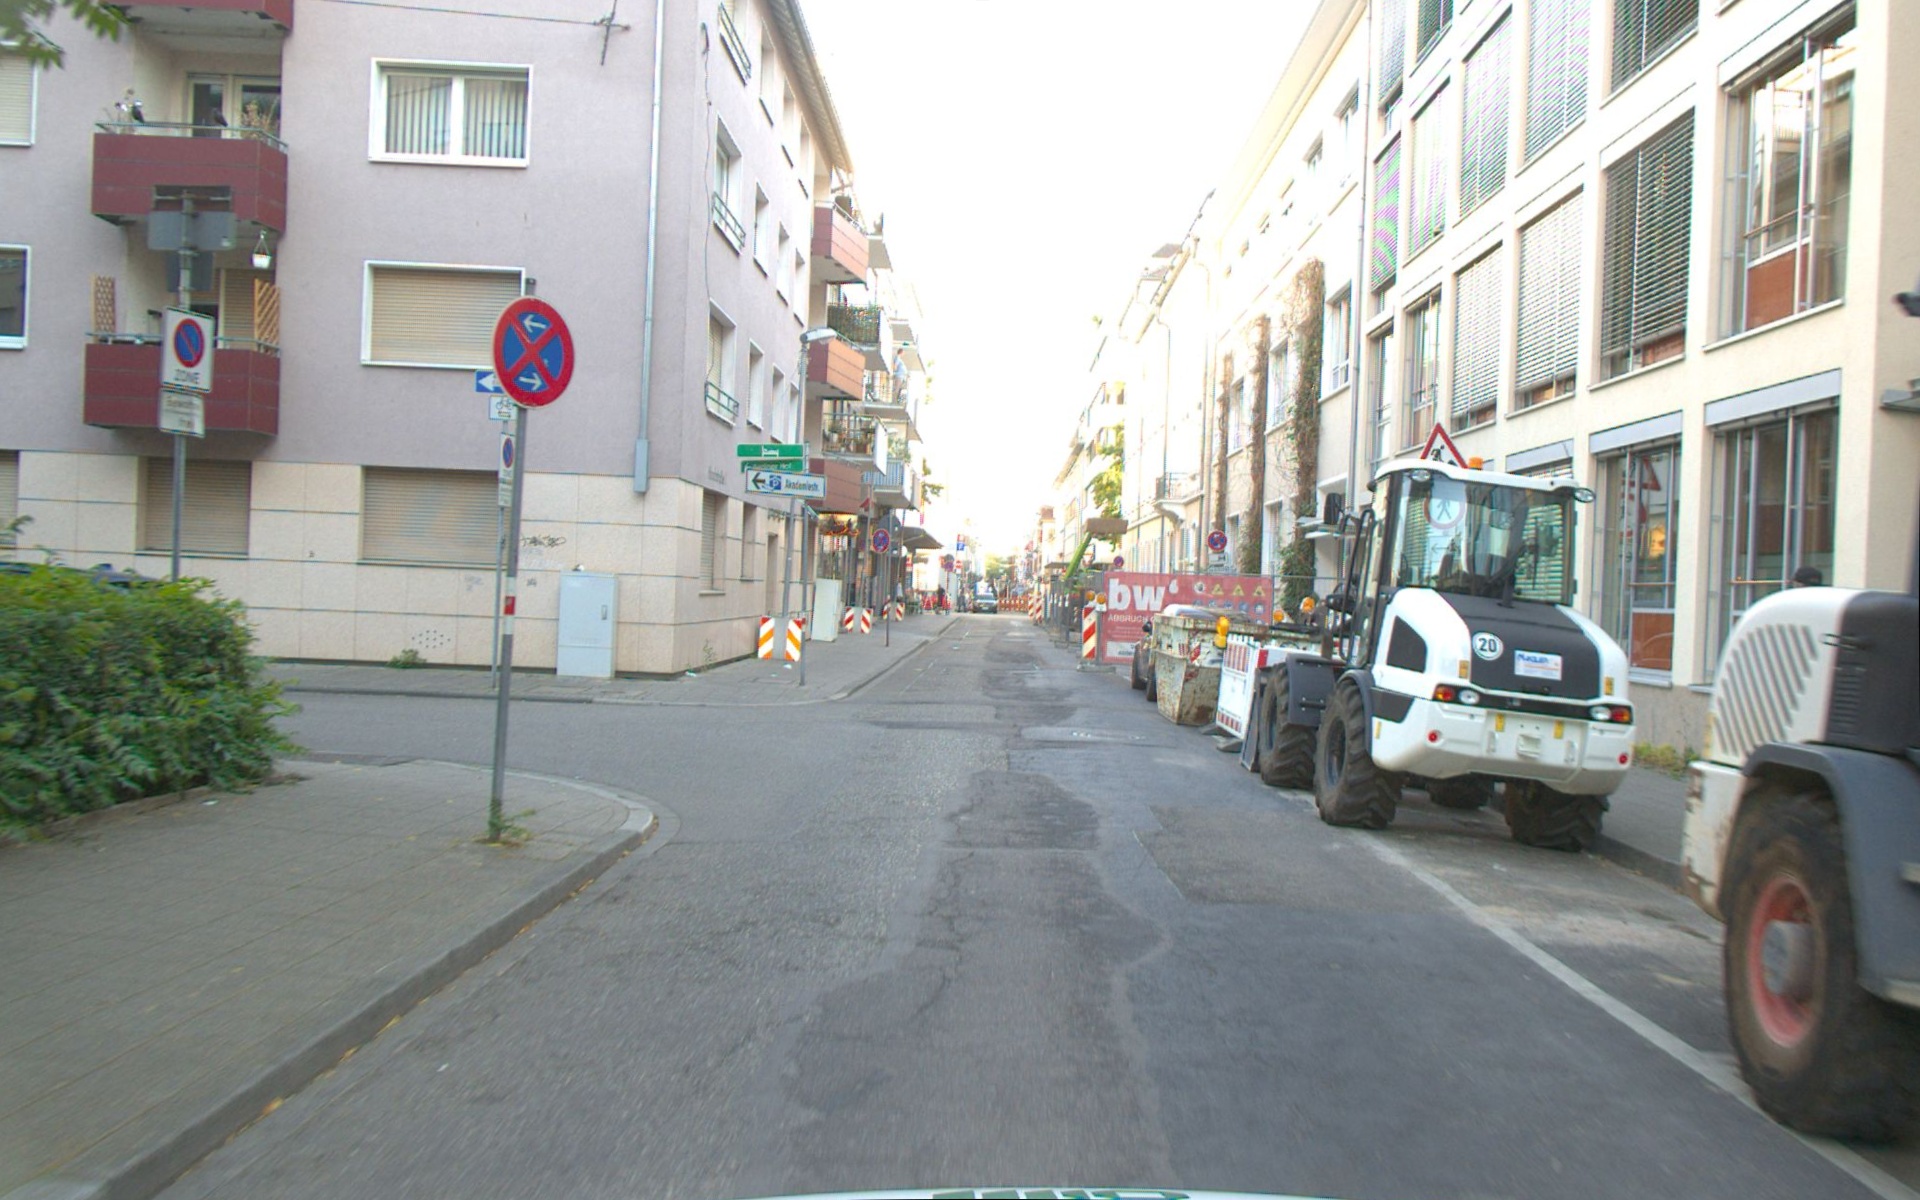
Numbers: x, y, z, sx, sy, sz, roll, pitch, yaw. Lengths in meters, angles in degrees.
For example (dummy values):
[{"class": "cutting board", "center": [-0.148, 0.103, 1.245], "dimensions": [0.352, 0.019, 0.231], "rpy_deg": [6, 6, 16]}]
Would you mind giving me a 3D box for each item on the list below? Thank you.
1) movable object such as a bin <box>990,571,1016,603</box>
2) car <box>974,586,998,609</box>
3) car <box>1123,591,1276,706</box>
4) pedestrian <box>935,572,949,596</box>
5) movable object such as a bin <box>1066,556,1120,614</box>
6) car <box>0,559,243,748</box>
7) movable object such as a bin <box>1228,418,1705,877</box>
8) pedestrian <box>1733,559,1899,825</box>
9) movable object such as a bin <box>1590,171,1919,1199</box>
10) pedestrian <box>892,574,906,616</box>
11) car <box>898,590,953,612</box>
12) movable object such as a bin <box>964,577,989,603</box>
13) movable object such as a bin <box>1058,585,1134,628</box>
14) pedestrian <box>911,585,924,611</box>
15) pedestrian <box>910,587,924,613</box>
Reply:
[{"class": "movable object such as a bin", "center": [3.788, -1.187, 146.024], "dimensions": [2.112, 2.710, 4.573], "rpy_deg": [2, 0, 1]}, {"class": "car", "center": [1.880, -0.210, 120.821], "dimensions": [1.596, 1.577, 3.141], "rpy_deg": [1, 1, -2]}, {"class": "car", "center": [3.651, 0.680, 25.971], "dimensions": [1.751, 1.497, 4.447], "rpy_deg": [4, 1, 1]}, {"class": "pedestrian", "center": [-0.977, -0.902, 90.979], "dimensions": [0.687, 1.297, 0.714], "rpy_deg": [2, 1, 1]}, {"class": "movable object such as a bin", "center": [6.959, -0.804, 86.871], "dimensions": [2.551, 2.888, 4.451], "rpy_deg": [1, 1, 1]}, {"class": "car", "center": [-8.799, 0.383, 14.416], "dimensions": [4.282, 1.507, 1.727], "rpy_deg": [2, 0, -1]}, {"class": "movable object such as a bin", "center": [3.570, 0.228, 13.033], "dimensions": [1.975, 2.668, 5.753], "rpy_deg": [4, 1, 2]}, {"class": "pedestrian", "center": [6.189, 0.644, 11.994], "dimensions": [0.788, 1.851, 0.722], "rpy_deg": [1, 0, 0]}, {"class": "movable object such as a bin", "center": [3.382, 0.289, 3.371], "dimensions": [1.975, 2.668, 5.752], "rpy_deg": [4, 1, 2]}, {"class": "pedestrian", "center": [-2.743, -0.219, 74.160], "dimensions": [0.520, 1.866, 0.562], "rpy_deg": [2, 1, -5]}, {"class": "car", "center": [-2.176, 0.057, 104.057], "dimensions": [3.439, 1.297, 1.474], "rpy_deg": [1, 1, -1]}, {"class": "movable object such as a bin", "center": [1.400, -0.849, 135.958], "dimensions": [1.952, 2.049, 4.001], "rpy_deg": [1, 1, 2]}, {"class": "movable object such as a bin", "center": [5.876, 0.231, 72.680], "dimensions": [2.680, 1.667, 7.553], "rpy_deg": [3, 1, 0]}, {"class": "pedestrian", "center": [-2.192, -0.101, 85.937], "dimensions": [0.561, 1.297, 0.714], "rpy_deg": [4, 1, 1]}, {"class": "pedestrian", "center": [-2.195, -0.021, 84.722], "dimensions": [0.561, 1.297, 0.714], "rpy_deg": [4, 1, 1]}]
